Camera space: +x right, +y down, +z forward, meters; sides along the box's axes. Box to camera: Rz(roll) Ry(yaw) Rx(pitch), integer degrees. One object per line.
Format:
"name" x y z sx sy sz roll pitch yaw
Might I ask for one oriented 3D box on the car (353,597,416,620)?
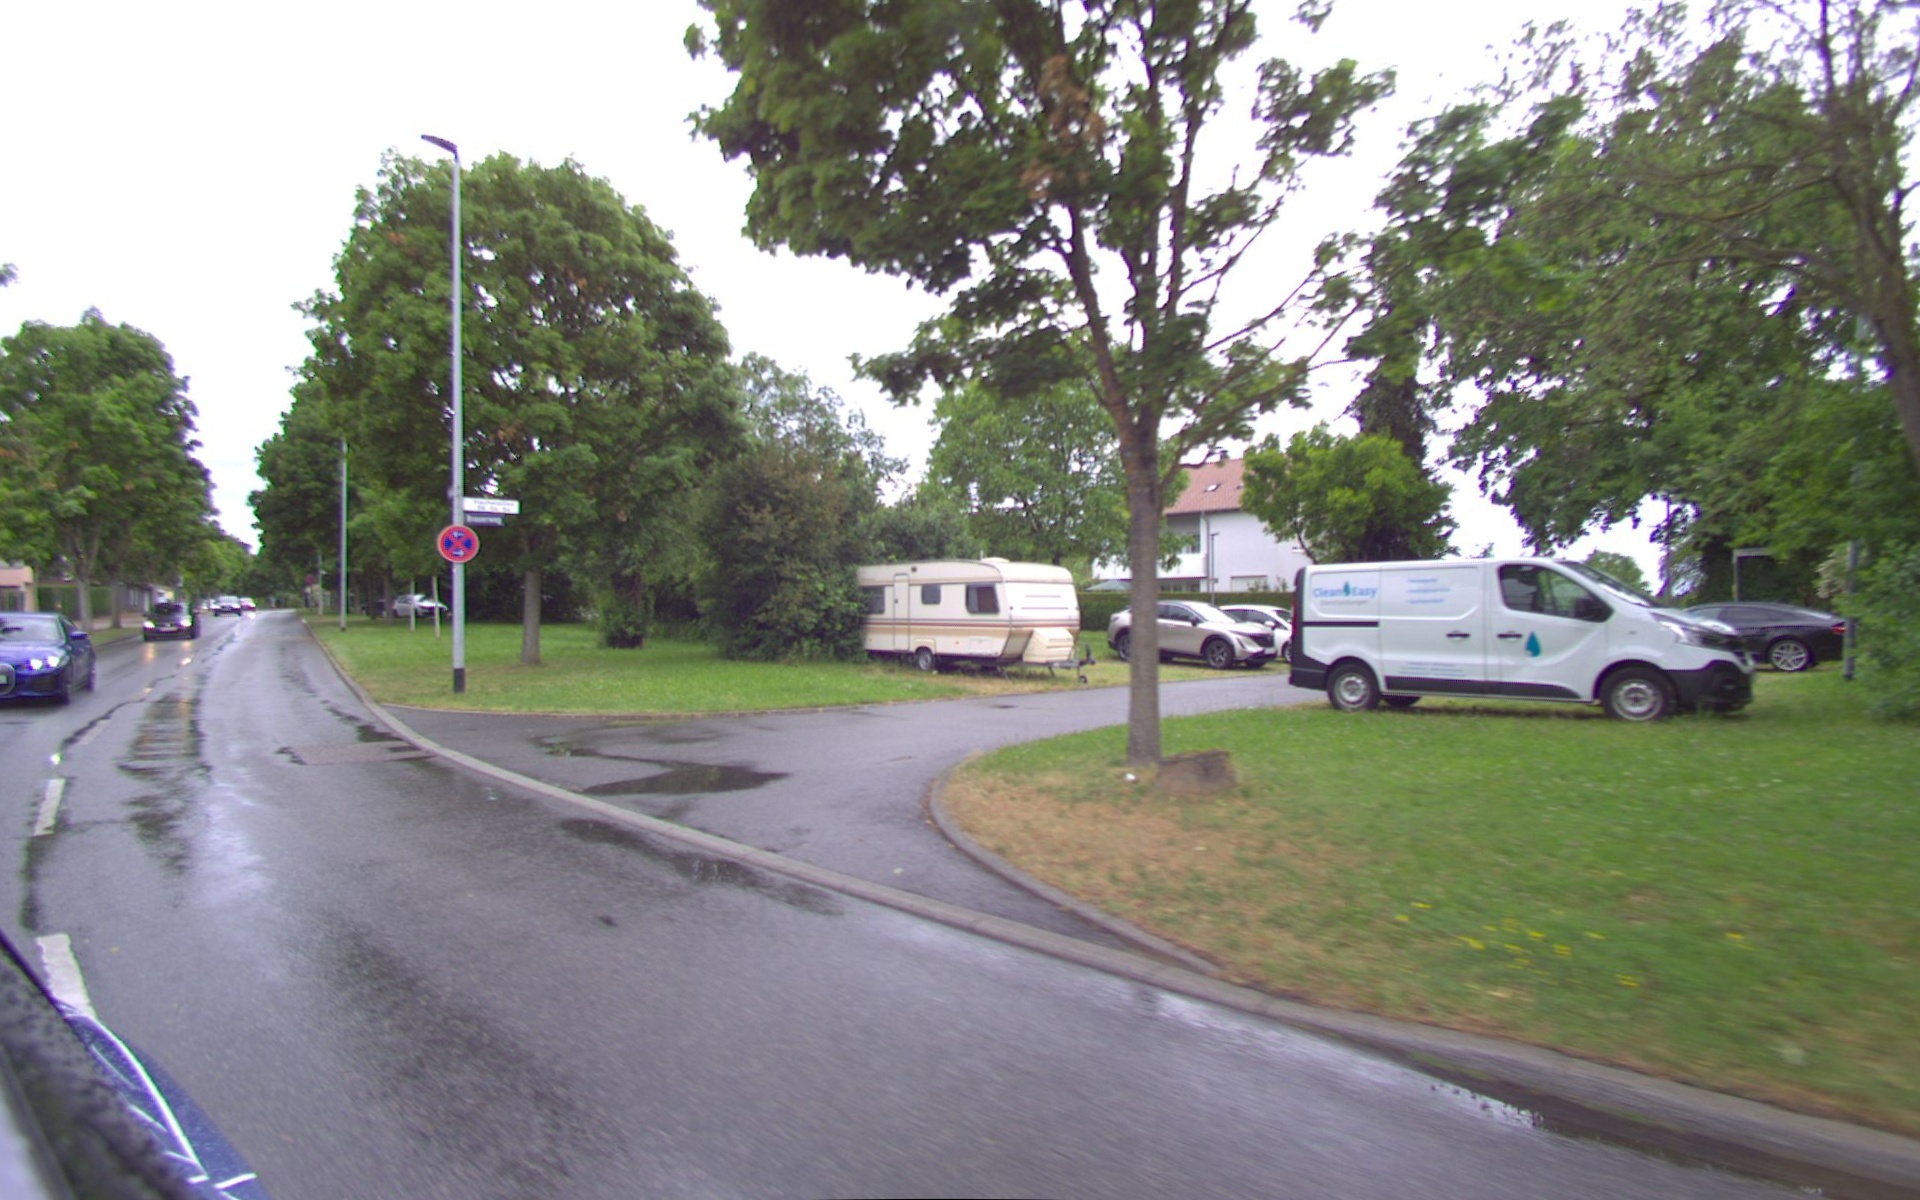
"car" -39.026 0.583 68.621 4.235 1.525 1.874 0 -1 32

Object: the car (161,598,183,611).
"car" -90.064 0.522 115.745 1.639 1.432 4.011 -3 1 -33

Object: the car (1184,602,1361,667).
"car" 8.536 0.878 27.942 1.830 1.593 4.359 0 1 -41

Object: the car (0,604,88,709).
"car" -15.684 0.857 16.591 1.787 1.479 3.984 -1 2 -37

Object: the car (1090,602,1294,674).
"car" 5.820 0.884 25.973 1.768 1.548 5.010 0 1 -42

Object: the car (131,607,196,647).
"car" -32.170 1.061 40.985 1.899 1.392 4.318 -3 2 -37

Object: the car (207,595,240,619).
"car" -60.691 0.568 83.414 1.967 1.872 4.011 -3 2 -34

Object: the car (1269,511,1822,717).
"car" 6.875 0.304 12.479 2.103 2.001 5.477 2 -4 -45

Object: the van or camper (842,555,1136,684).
"van or camper" 0.374 0.369 21.978 2.355 2.378 6.820 1 0 -42

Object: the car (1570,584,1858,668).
"car" 15.570 0.581 21.063 2.103 1.521 4.481 0 -3 -45

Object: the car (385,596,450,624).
"car" -32.049 0.609 59.730 4.211 1.441 1.863 -3 -2 38
